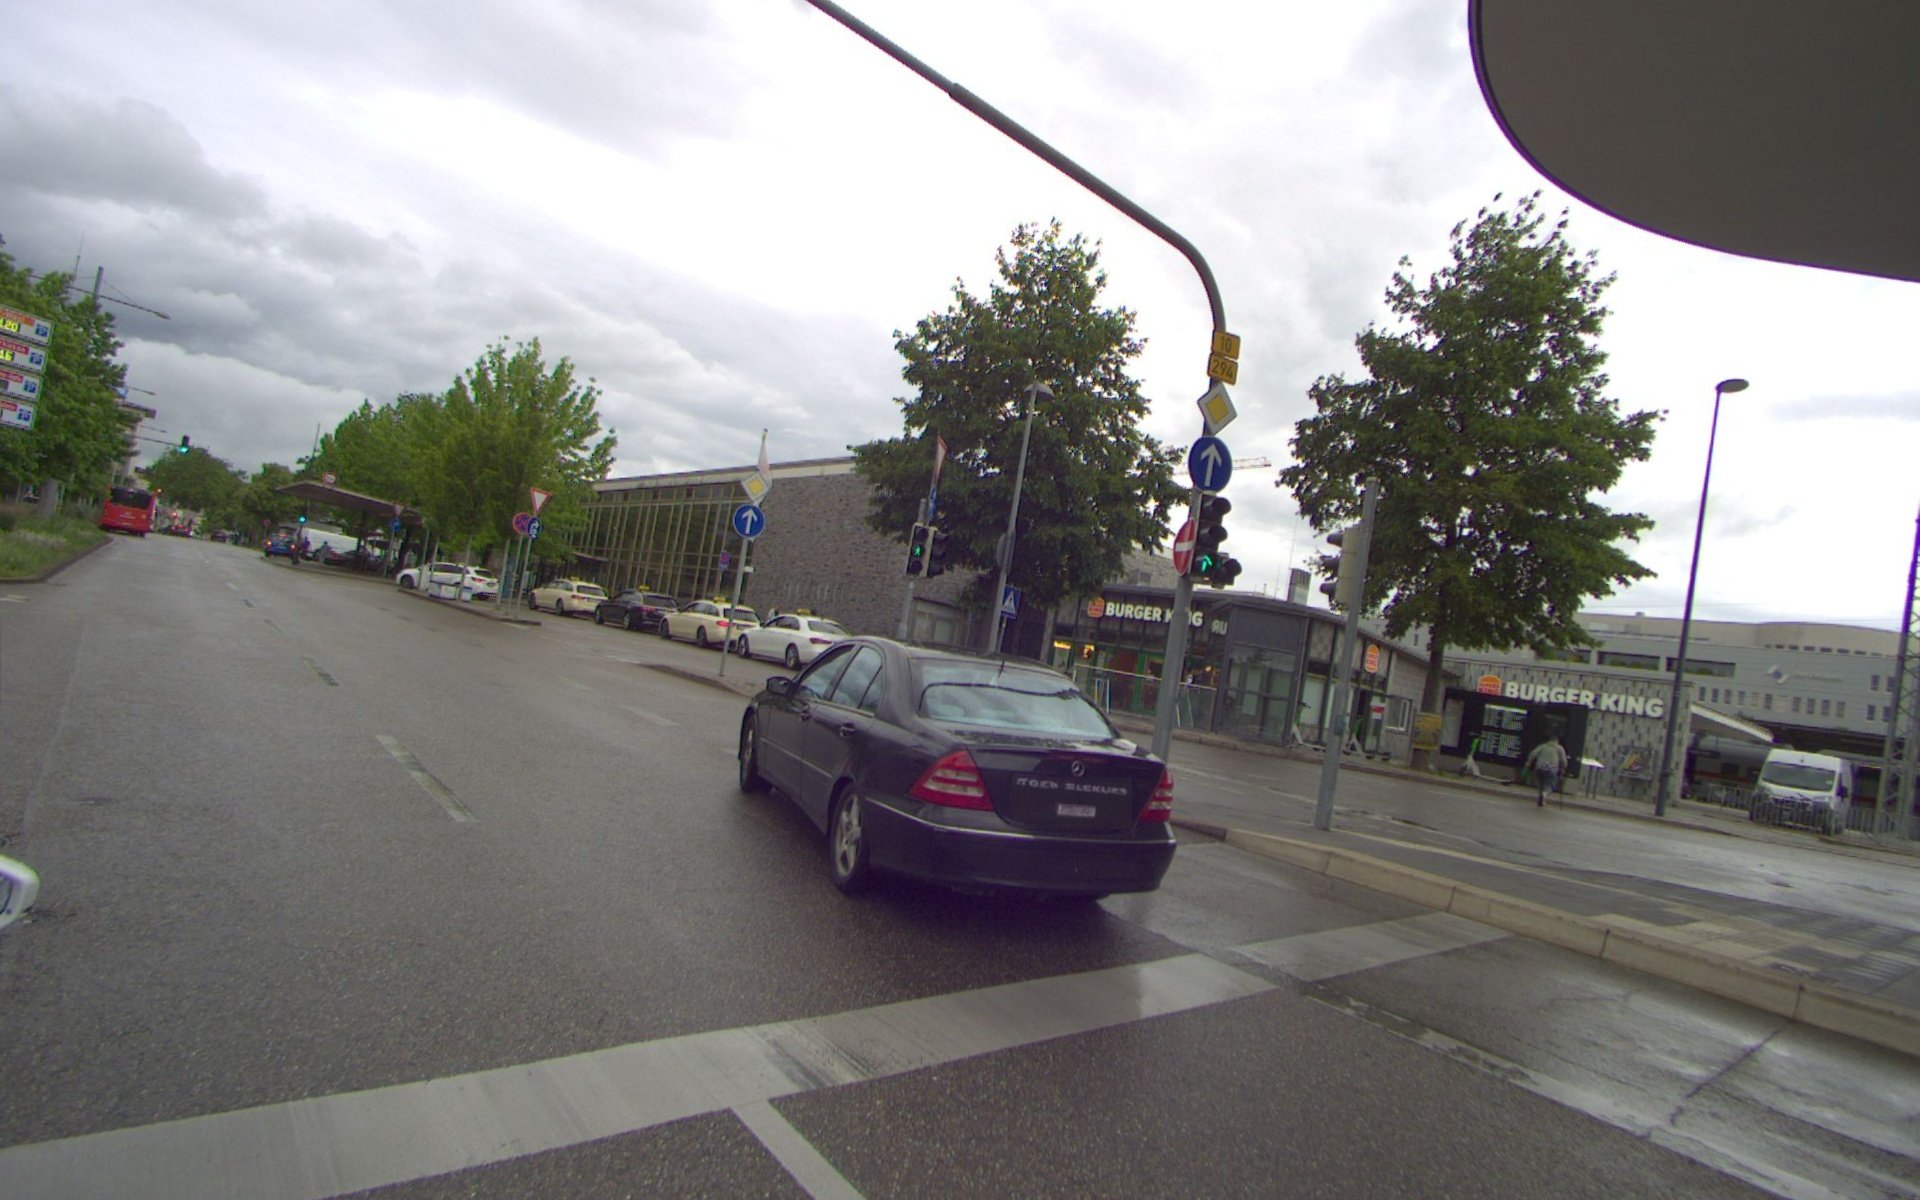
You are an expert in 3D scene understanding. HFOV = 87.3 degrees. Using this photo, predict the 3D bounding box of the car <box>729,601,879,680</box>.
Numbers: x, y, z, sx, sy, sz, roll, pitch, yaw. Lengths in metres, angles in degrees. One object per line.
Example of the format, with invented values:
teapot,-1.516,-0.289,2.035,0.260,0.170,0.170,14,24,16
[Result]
car,-4.456,1.074,28.063,1.872,1.618,4.852,9,-2,-38

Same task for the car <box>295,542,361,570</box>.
car,-50.551,-3.482,80.553,1.831,1.458,4.003,7,-3,25

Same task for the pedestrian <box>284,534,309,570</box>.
pedestrian,-35.851,-2.592,54.361,0.825,1.766,0.745,6,-2,43

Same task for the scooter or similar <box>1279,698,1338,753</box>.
scooter or similar,8.777,3.157,25.365,1.280,1.196,0.334,7,-1,18

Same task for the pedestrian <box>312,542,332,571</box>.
pedestrian,-44.449,-3.055,70.128,0.853,1.856,1.177,9,-2,-39

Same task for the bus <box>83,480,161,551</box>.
bus,-58.407,-5.834,70.096,3.533,4.025,11.046,8,-2,-41

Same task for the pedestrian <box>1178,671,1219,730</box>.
pedestrian,7.423,3.131,31.284,0.715,1.687,0.792,8,-1,-28

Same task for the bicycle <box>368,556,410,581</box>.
bicycle,-30.577,-1.692,53.864,1.820,1.068,0.416,9,-2,-39

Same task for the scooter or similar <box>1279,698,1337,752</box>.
scooter or similar,8.970,3.204,25.934,1.280,1.196,0.334,7,-1,18

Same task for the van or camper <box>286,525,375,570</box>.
van or camper,-53.546,-4.430,85.760,2.159,2.794,5.967,7,-2,24

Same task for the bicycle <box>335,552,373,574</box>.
bicycle,-36.435,-2.206,60.517,0.413,1.068,1.830,7,-2,33

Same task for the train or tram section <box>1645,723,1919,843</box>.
train or tram section,51.327,10.416,49.381,4.572,4.230,29.000,9,-2,-38

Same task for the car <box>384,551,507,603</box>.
car,-23.019,-1.024,45.083,4.686,1.563,1.767,8,-2,12

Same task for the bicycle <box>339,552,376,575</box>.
bicycle,-36.076,-2.173,60.239,0.413,1.068,1.830,7,-2,33

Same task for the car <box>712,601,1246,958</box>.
car,-0.298,0.915,6.848,1.680,1.482,4.425,8,-2,-26

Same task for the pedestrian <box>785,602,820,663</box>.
pedestrian,-5.974,1.211,38.133,0.791,2.189,0.716,8,-1,-36

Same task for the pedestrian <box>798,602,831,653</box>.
pedestrian,-5.012,0.950,34.739,0.782,1.645,0.723,7,-1,7

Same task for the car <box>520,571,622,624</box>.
car,-16.340,-0.141,42.132,4.893,1.618,1.990,6,-2,44

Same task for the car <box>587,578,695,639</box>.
car,-11.947,0.283,37.439,1.987,1.617,4.904,11,-3,-39

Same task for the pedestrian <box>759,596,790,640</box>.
pedestrian,-7.279,0.714,39.485,0.766,1.598,0.702,8,-1,-42

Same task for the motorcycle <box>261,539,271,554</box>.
motorcycle,-66.674,-5.157,96.630,0.591,1.303,1.937,8,-2,-33

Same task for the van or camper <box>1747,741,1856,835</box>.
van or camper,27.579,6.067,32.892,2.138,2.461,5.835,6,-2,44

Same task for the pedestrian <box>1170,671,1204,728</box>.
pedestrian,7.327,3.206,32.494,0.709,1.687,0.798,7,-1,0

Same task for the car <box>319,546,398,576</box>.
car,-41.534,-2.675,69.535,1.810,1.339,4.196,7,-4,31

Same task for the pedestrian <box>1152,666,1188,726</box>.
pedestrian,6.315,2.870,30.256,0.764,1.688,0.645,6,1,30

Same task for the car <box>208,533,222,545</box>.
car,-118.526,-9.749,159.989,1.588,1.579,3.612,8,-2,-38

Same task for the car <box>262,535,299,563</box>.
car,-46.757,-3.495,69.227,1.849,1.586,3.964,10,-3,-34

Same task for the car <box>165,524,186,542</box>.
car,-104.392,-8.862,133.863,1.985,2.037,3.958,8,-2,-38

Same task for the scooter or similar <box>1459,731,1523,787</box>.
scooter or similar,13.574,4.053,25.738,1.280,1.196,0.334,7,-1,18

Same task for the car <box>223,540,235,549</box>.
car,-148.713,-11.319,204.633,1.638,1.680,3.612,8,-2,-38

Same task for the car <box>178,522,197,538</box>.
car,-112.729,-10.225,146.834,1.985,2.037,3.958,8,-2,-38

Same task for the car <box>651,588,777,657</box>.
car,-8.064,0.690,32.667,1.985,1.618,4.906,9,-2,-38

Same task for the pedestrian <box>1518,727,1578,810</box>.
pedestrian,12.222,3.495,20.936,0.825,1.547,0.638,7,-1,21
